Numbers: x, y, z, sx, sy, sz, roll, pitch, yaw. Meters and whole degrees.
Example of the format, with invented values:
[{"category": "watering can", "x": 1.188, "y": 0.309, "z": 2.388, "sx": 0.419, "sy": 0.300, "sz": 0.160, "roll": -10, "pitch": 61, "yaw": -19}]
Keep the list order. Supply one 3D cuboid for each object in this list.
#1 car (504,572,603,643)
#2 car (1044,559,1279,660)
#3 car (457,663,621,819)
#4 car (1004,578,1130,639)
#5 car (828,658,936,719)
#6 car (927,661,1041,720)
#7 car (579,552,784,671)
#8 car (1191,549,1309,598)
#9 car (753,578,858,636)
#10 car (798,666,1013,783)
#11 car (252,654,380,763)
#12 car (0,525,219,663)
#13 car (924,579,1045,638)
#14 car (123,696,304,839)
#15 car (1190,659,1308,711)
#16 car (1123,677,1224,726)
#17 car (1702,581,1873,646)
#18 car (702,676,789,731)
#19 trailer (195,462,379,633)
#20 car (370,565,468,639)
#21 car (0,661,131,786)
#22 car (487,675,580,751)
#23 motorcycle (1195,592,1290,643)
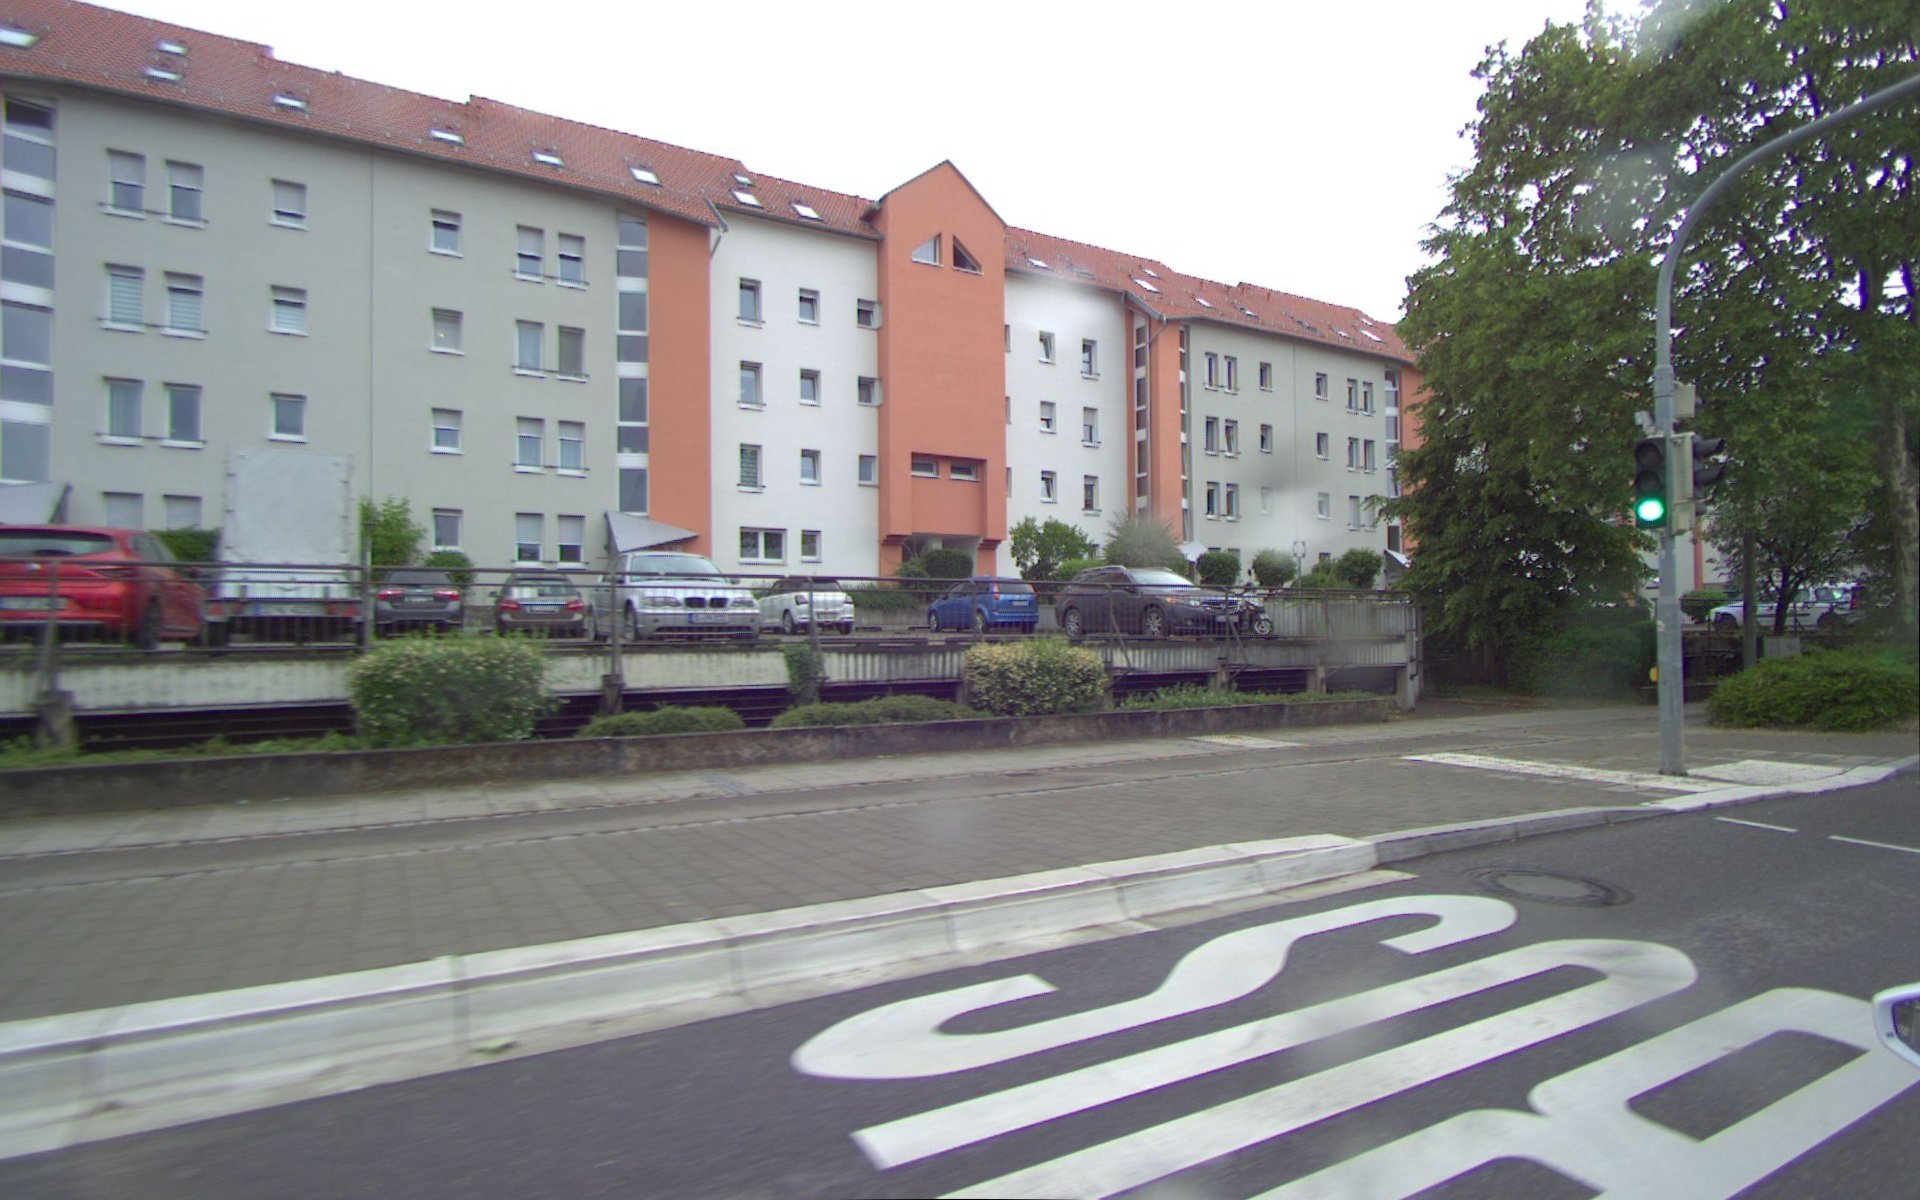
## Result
[{"category": "car", "x": -9.257, "y": 0.167, "z": 22.712, "sx": 1.697, "sy": 1.422, "sz": 3.504, "roll": 3, "pitch": -1, "yaw": -28}, {"category": "car", "x": 3.766, "y": 0.183, "z": 19.606, "sx": 1.977, "sy": 1.694, "sz": 4.522, "roll": 3, "pitch": -1, "yaw": -30}, {"category": "car", "x": -5.970, "y": 1.818, "z": 14.028, "sx": 1.685, "sy": 1.719, "sz": 3.493, "roll": 1, "pitch": -1, "yaw": -30}, {"category": "car", "x": 3.066, "y": 0.246, "z": 29.506, "sx": 1.699, "sy": 1.622, "sz": 3.790, "roll": 3, "pitch": -1, "yaw": -31}, {"category": "car", "x": -2.203, "y": 2.358, "z": 27.506, "sx": 1.697, "sy": 1.422, "sz": 3.504, "roll": 1, "pitch": -1, "yaw": -28}, {"category": "car", "x": 0.666, "y": 2.719, "z": 30.725, "sx": 1.699, "sy": 1.531, "sz": 3.790, "roll": 3, "pitch": -2, "yaw": -31}, {"category": "car", "x": -4.211, "y": 0.175, "z": 14.657, "sx": 1.838, "sy": 1.443, "sz": 4.335, "roll": 3, "pitch": -1, "yaw": -30}, {"category": "car", "x": 9.369, "y": -0.821, "z": 32.717, "sx": 1.526, "sy": 1.412, "sz": 3.579, "roll": 3, "pitch": -1, "yaw": -31}, {"category": "car", "x": -4.131, "y": 0.208, "z": 26.495, "sx": 1.697, "sy": 1.407, "sz": 3.504, "roll": 1, "pitch": -1, "yaw": -28}, {"category": "car", "x": -1.064, "y": 1.969, "z": 16.906, "sx": 1.838, "sy": 1.443, "sz": 4.335, "roll": 3, "pitch": -1, "yaw": -30}, {"category": "car", "x": -13.995, "y": 2.261, "z": 22.053, "sx": 1.917, "sy": 2.040, "sz": 3.893, "roll": 1, "pitch": -2, "yaw": -27}, {"category": "car", "x": -10.043, "y": -0.057, "z": 11.671, "sx": 1.789, "sy": 1.320, "sz": 4.069, "roll": 3, "pitch": -1, "yaw": -30}, {"category": "car", "x": 0.637, "y": 0.231, "z": 28.948, "sx": 1.699, "sy": 1.531, "sz": 3.790, "roll": 3, "pitch": -1, "yaw": -31}, {"category": "car", "x": -10.588, "y": 2.272, "z": 14.506, "sx": 1.571, "sy": 1.423, "sz": 3.950, "roll": 3, "pitch": -1, "yaw": -30}, {"category": "car", "x": 9.208, "y": 2.690, "z": 32.270, "sx": 1.526, "sy": 1.412, "sz": 3.579, "roll": 1, "pitch": -1, "yaw": -31}, {"category": "car", "x": 7.696, "y": 3.644, "z": 36.490, "sx": 1.526, "sy": 1.412, "sz": 3.579, "roll": 3, "pitch": -1, "yaw": -31}, {"category": "car", "x": 27.817, "y": 0.467, "z": 33.894, "sx": 1.700, "sy": 2.040, "sz": 4.145, "roll": 1, "pitch": -1, "yaw": -32}, {"category": "car", "x": -5.395, "y": 2.532, "z": 25.070, "sx": 1.359, "sy": 1.097, "sz": 3.187, "roll": 1, "pitch": -1, "yaw": -27}, {"category": "trailer", "x": -7.517, "y": -0.502, "z": 11.437, "sx": 1.462, "sy": 1.667, "sz": 2.692, "roll": 2, "pitch": -1, "yaw": -29}, {"category": "car", "x": -11.702, "y": 0.063, "z": 21.814, "sx": 1.697, "sy": 1.422, "sz": 3.504, "roll": 3, "pitch": -1, "yaw": -28}, {"category": "car", "x": -17.898, "y": 2.291, "z": 19.471, "sx": 1.975, "sy": 2.040, "sz": 3.972, "roll": 1, "pitch": -1, "yaw": -27}, {"category": "car", "x": -10.164, "y": 2.620, "z": 23.814, "sx": 1.697, "sy": 1.422, "sz": 3.504, "roll": 3, "pitch": -1, "yaw": -28}, {"category": "motorcycle", "x": 5.487, "y": 0.324, "z": 19.608, "sx": 0.562, "sy": 0.925, "sz": 1.943, "roll": 3, "pitch": -1, "yaw": -29}]
